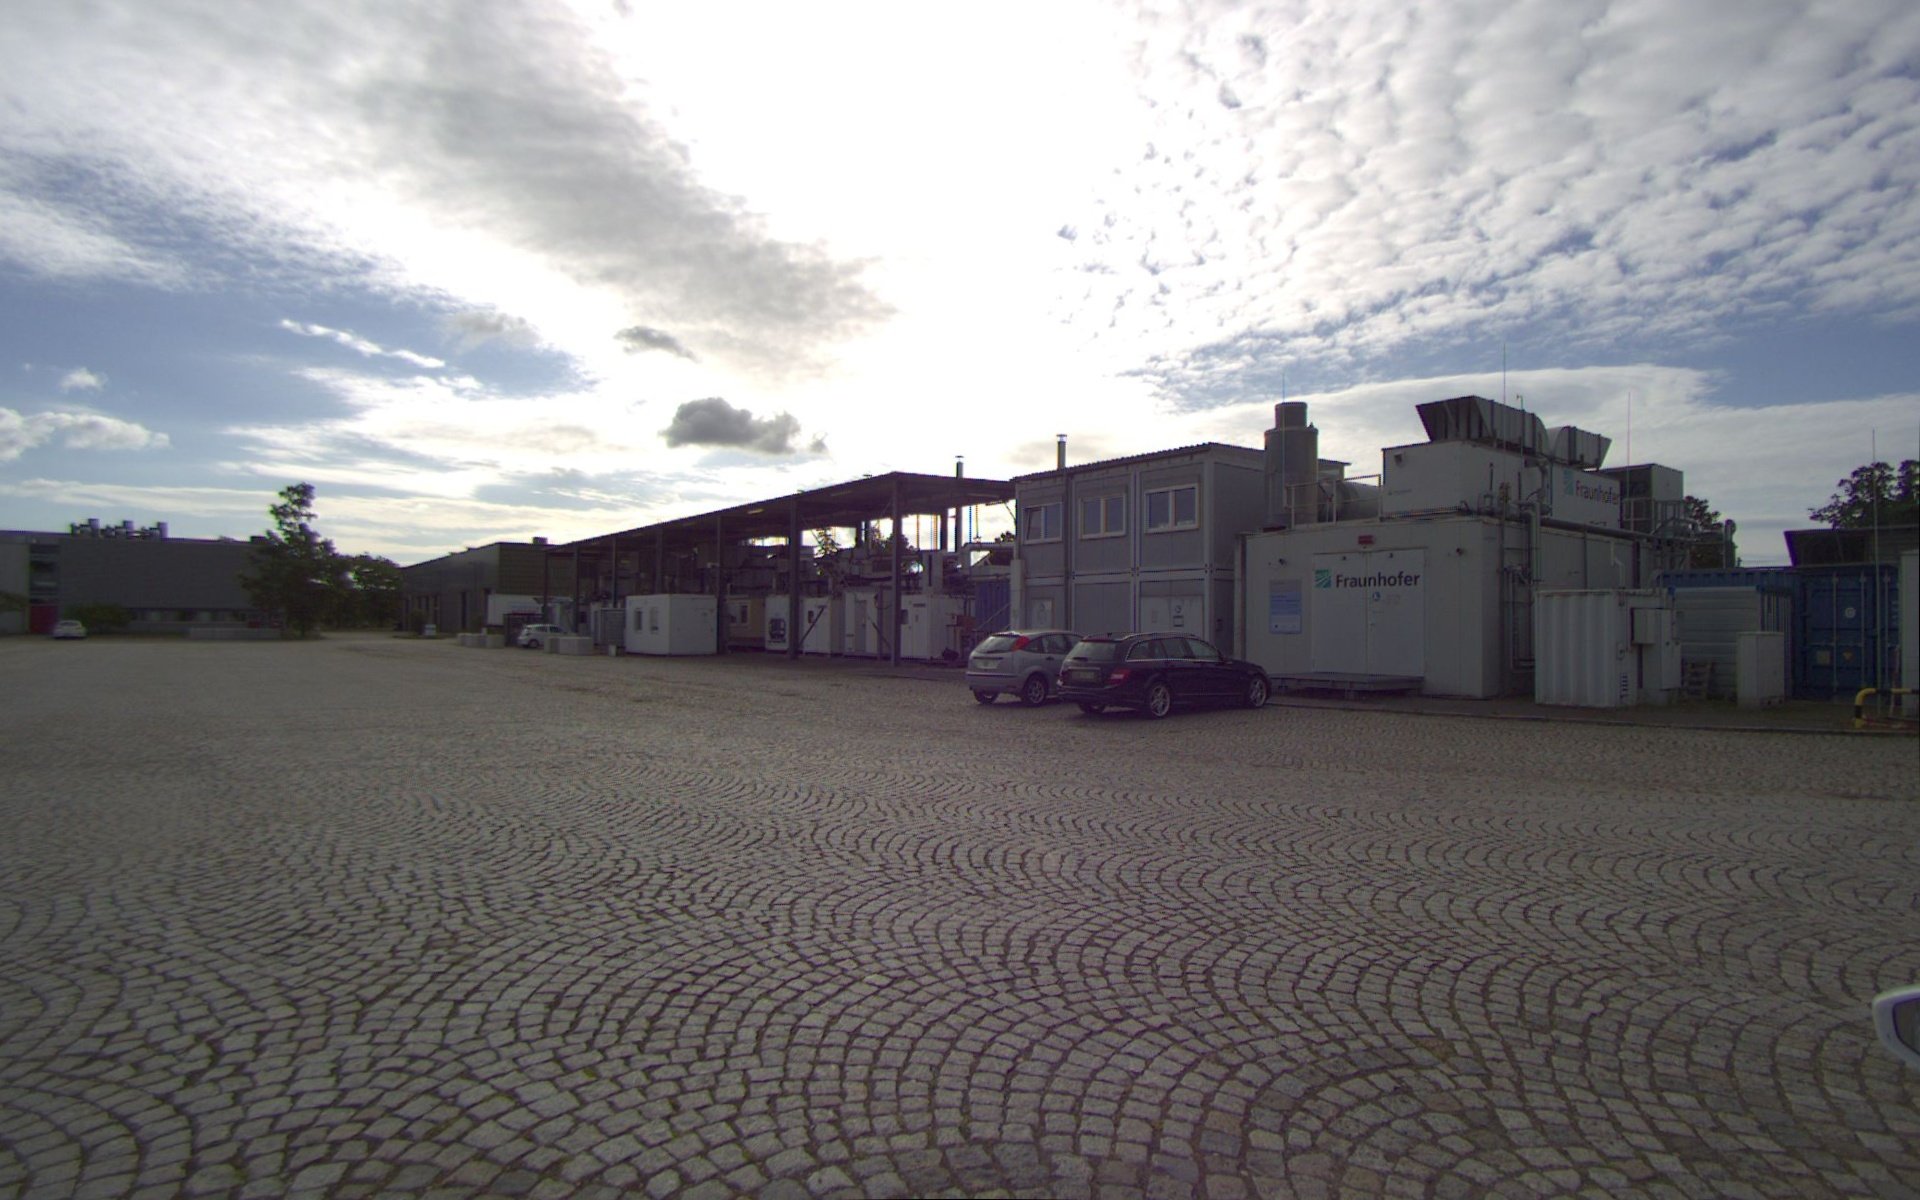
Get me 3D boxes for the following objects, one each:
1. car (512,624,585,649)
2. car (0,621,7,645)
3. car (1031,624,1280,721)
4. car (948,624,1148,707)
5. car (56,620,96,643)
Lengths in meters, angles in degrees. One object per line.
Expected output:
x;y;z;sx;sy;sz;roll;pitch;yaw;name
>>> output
-26.396;2.328;64.455;3.966;1.512;1.978;2;-2;-39;car
-75.192;2.546;77.502;1.982;1.834;3.957;1;-2;-38;car
3.636;1.220;18.340;4.489;1.472;2.021;-1;-1;-38;car
1.896;1.290;20.963;4.013;1.495;1.891;0;-1;-40;car
-71.363;2.550;81.126;2.135;1.834;3.957;1;-2;-38;car
